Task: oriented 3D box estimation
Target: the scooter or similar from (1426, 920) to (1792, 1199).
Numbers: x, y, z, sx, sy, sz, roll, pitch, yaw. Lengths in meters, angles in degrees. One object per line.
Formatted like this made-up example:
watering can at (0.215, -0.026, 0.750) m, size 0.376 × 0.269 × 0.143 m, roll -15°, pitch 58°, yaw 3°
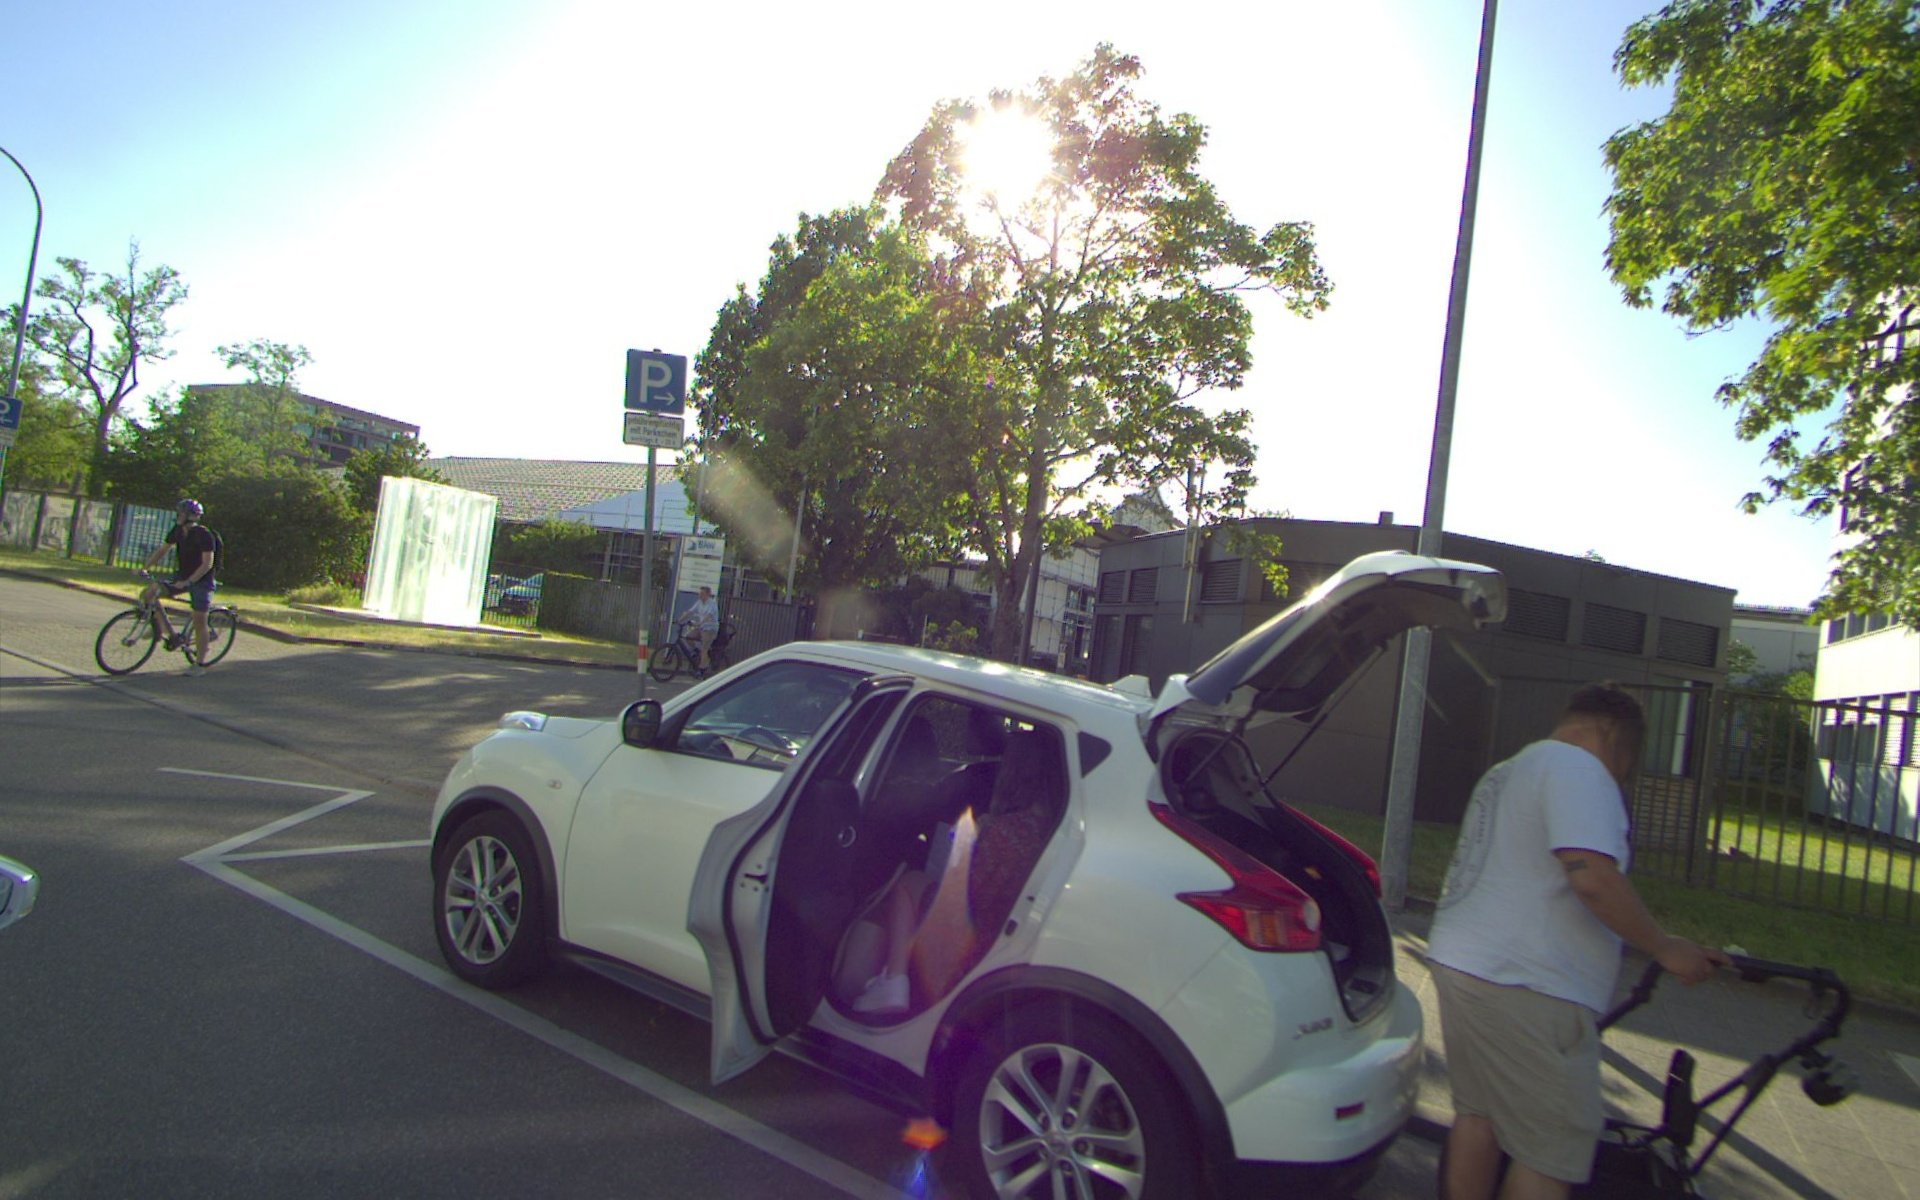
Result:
scooter or similar at (1.931, 1.532, 3.006) m, size 0.690 × 0.915 × 0.697 m, roll 12°, pitch -4°, yaw -41°

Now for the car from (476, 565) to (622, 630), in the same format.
car at (-14.740, -0.035, 36.376) m, size 1.964 × 1.687 × 4.645 m, roll 7°, pitch -3°, yaw 25°

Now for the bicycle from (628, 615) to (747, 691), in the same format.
bicycle at (-4.930, 0.981, 18.267) m, size 1.892 × 1.156 × 0.659 m, roll 9°, pitch -1°, yaw -45°

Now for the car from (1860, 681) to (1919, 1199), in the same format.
car at (4.569, 1.327, 1.088) m, size 4.934 × 1.889 × 1.872 m, roll 7°, pitch -4°, yaw 27°

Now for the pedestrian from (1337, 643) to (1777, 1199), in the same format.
pedestrian at (1.518, 1.052, 2.600) m, size 0.587 × 1.764 × 0.697 m, roll 11°, pitch -4°, yaw -41°

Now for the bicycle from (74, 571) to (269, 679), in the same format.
bicycle at (-8.764, 0.257, 11.298) m, size 0.689 × 1.021 × 1.883 m, roll 8°, pitch 0°, yaw -4°

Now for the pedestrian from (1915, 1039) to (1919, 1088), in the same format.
pedestrian at (4.967, 1.516, 4.460) m, size 0.762 × 1.749 × 0.693 m, roll 7°, pitch 0°, yaw 30°

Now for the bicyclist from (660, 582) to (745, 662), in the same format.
bicyclist at (-4.709, 0.411, 18.426) m, size 1.094 × 1.283 × 0.851 m, roll 9°, pitch -2°, yaw -44°

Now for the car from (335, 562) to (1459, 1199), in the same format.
car at (-0.415, 0.912, 3.978) m, size 4.045 × 1.529 × 1.670 m, roll 7°, pitch -4°, yaw 31°

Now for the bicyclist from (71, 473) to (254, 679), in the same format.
bicyclist at (-8.702, -0.243, 11.039) m, size 0.942 × 2.038 × 1.052 m, roll 8°, pitch 1°, yaw -2°

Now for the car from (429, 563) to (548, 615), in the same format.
car at (-18.314, -0.390, 39.255) m, size 1.646 × 1.395 × 3.901 m, roll 7°, pitch -3°, yaw 27°
